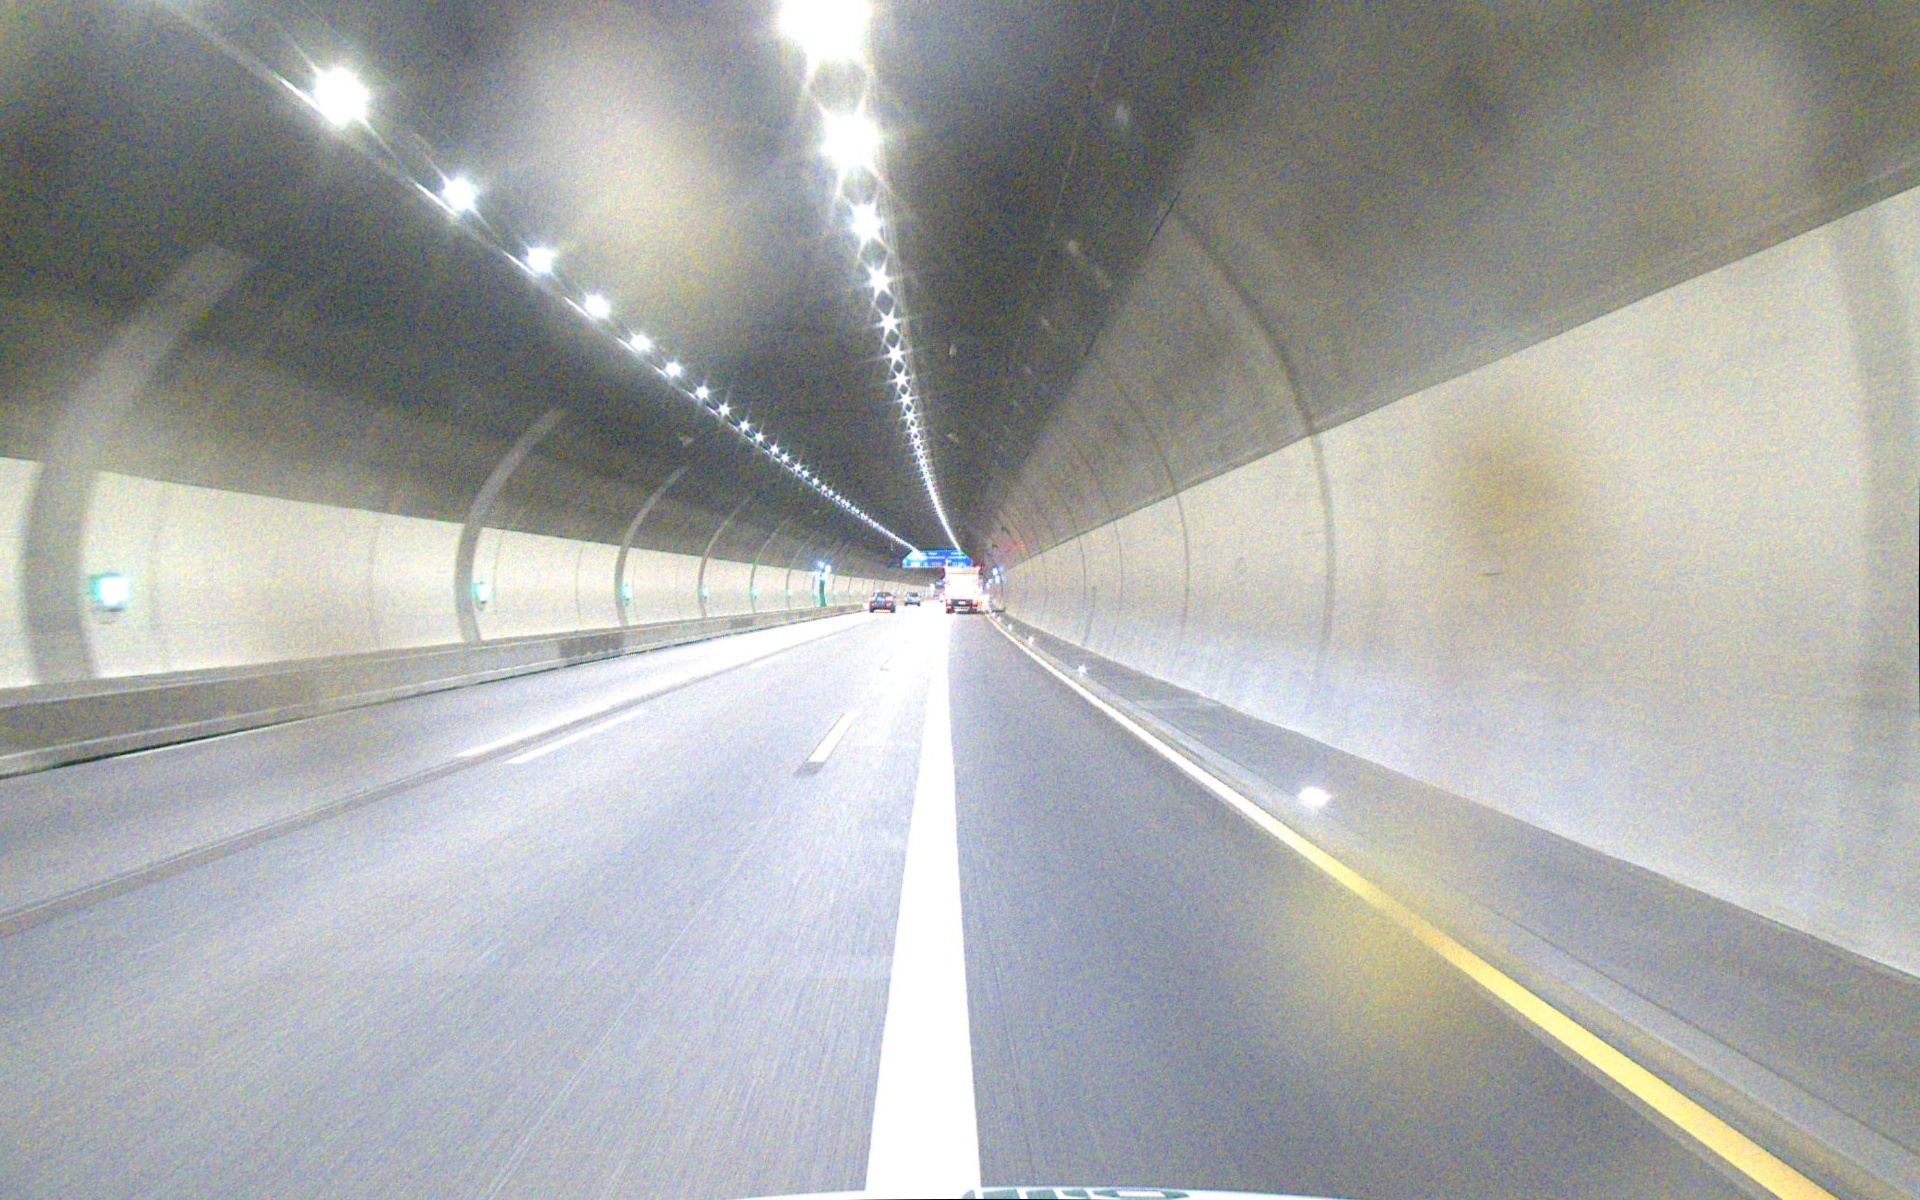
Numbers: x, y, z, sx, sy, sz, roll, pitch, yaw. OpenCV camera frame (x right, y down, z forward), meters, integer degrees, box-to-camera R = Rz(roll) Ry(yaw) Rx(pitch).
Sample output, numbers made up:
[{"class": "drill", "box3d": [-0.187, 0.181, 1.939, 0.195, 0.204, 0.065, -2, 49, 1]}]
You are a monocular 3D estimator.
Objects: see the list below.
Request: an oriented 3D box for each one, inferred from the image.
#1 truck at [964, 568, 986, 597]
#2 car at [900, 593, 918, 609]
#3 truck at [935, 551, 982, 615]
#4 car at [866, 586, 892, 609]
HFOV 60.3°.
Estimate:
[{"class": "truck", "box3d": [2.223, -2.621, 249.179, 2.863, 4.118, 14.027, -1, 0, -1]}, {"class": "car", "box3d": [-5.460, 0.094, 176.889, 1.776, 1.546, 3.999, 1, 2, -3]}, {"class": "truck", "box3d": [-0.253, -1.310, 130.332, 3.212, 4.731, 17.282, -1, 0, -1]}, {"class": "car", "box3d": [-5.964, -0.229, 122.162, 1.776, 1.646, 3.999, 1, 1, -2]}]
